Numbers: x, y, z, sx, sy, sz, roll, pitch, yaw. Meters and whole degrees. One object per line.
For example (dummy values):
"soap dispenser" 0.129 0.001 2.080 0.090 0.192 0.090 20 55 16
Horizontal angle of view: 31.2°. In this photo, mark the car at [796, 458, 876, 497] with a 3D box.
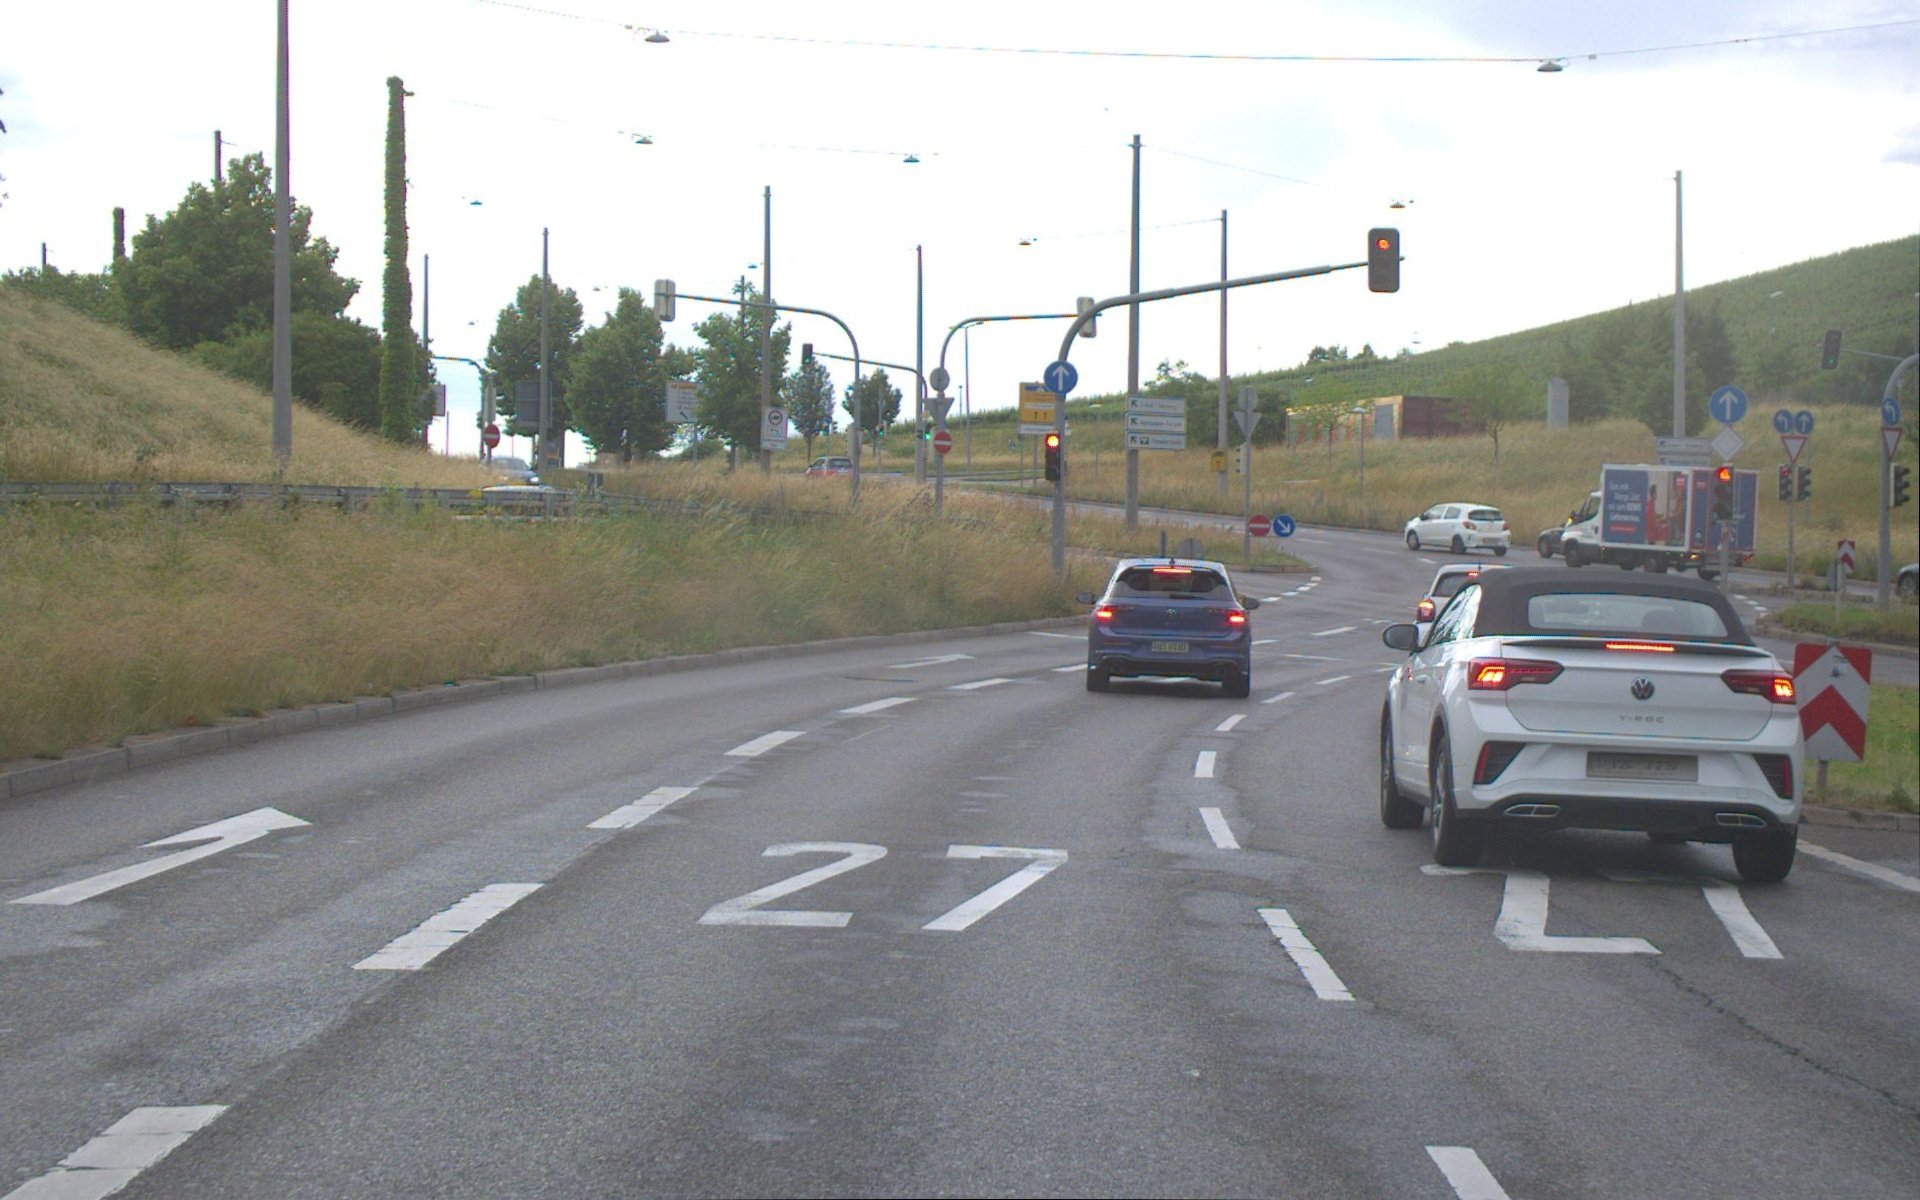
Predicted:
"car" -5.522 -5.430 152.300 1.993 1.706 4.564 -1 2 -24

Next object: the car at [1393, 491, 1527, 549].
"car" 14.854 -2.409 102.375 1.993 1.495 4.565 -1 4 -20

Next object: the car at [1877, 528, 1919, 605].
"car" 23.814 -0.709 80.015 1.994 1.706 4.563 -2 5 -34

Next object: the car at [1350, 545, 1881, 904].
"car" 3.346 0.560 18.388 1.996 1.573 4.126 3 1 0

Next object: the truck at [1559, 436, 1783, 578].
"truck" 19.060 -2.578 92.543 2.847 3.514 6.237 -1 4 -22

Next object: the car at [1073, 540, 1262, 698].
"car" 2.325 0.190 37.787 1.926 1.594 4.061 1 0 5

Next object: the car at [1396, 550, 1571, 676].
"car" 7.021 0.141 45.864 1.776 1.514 3.722 3 1 16
